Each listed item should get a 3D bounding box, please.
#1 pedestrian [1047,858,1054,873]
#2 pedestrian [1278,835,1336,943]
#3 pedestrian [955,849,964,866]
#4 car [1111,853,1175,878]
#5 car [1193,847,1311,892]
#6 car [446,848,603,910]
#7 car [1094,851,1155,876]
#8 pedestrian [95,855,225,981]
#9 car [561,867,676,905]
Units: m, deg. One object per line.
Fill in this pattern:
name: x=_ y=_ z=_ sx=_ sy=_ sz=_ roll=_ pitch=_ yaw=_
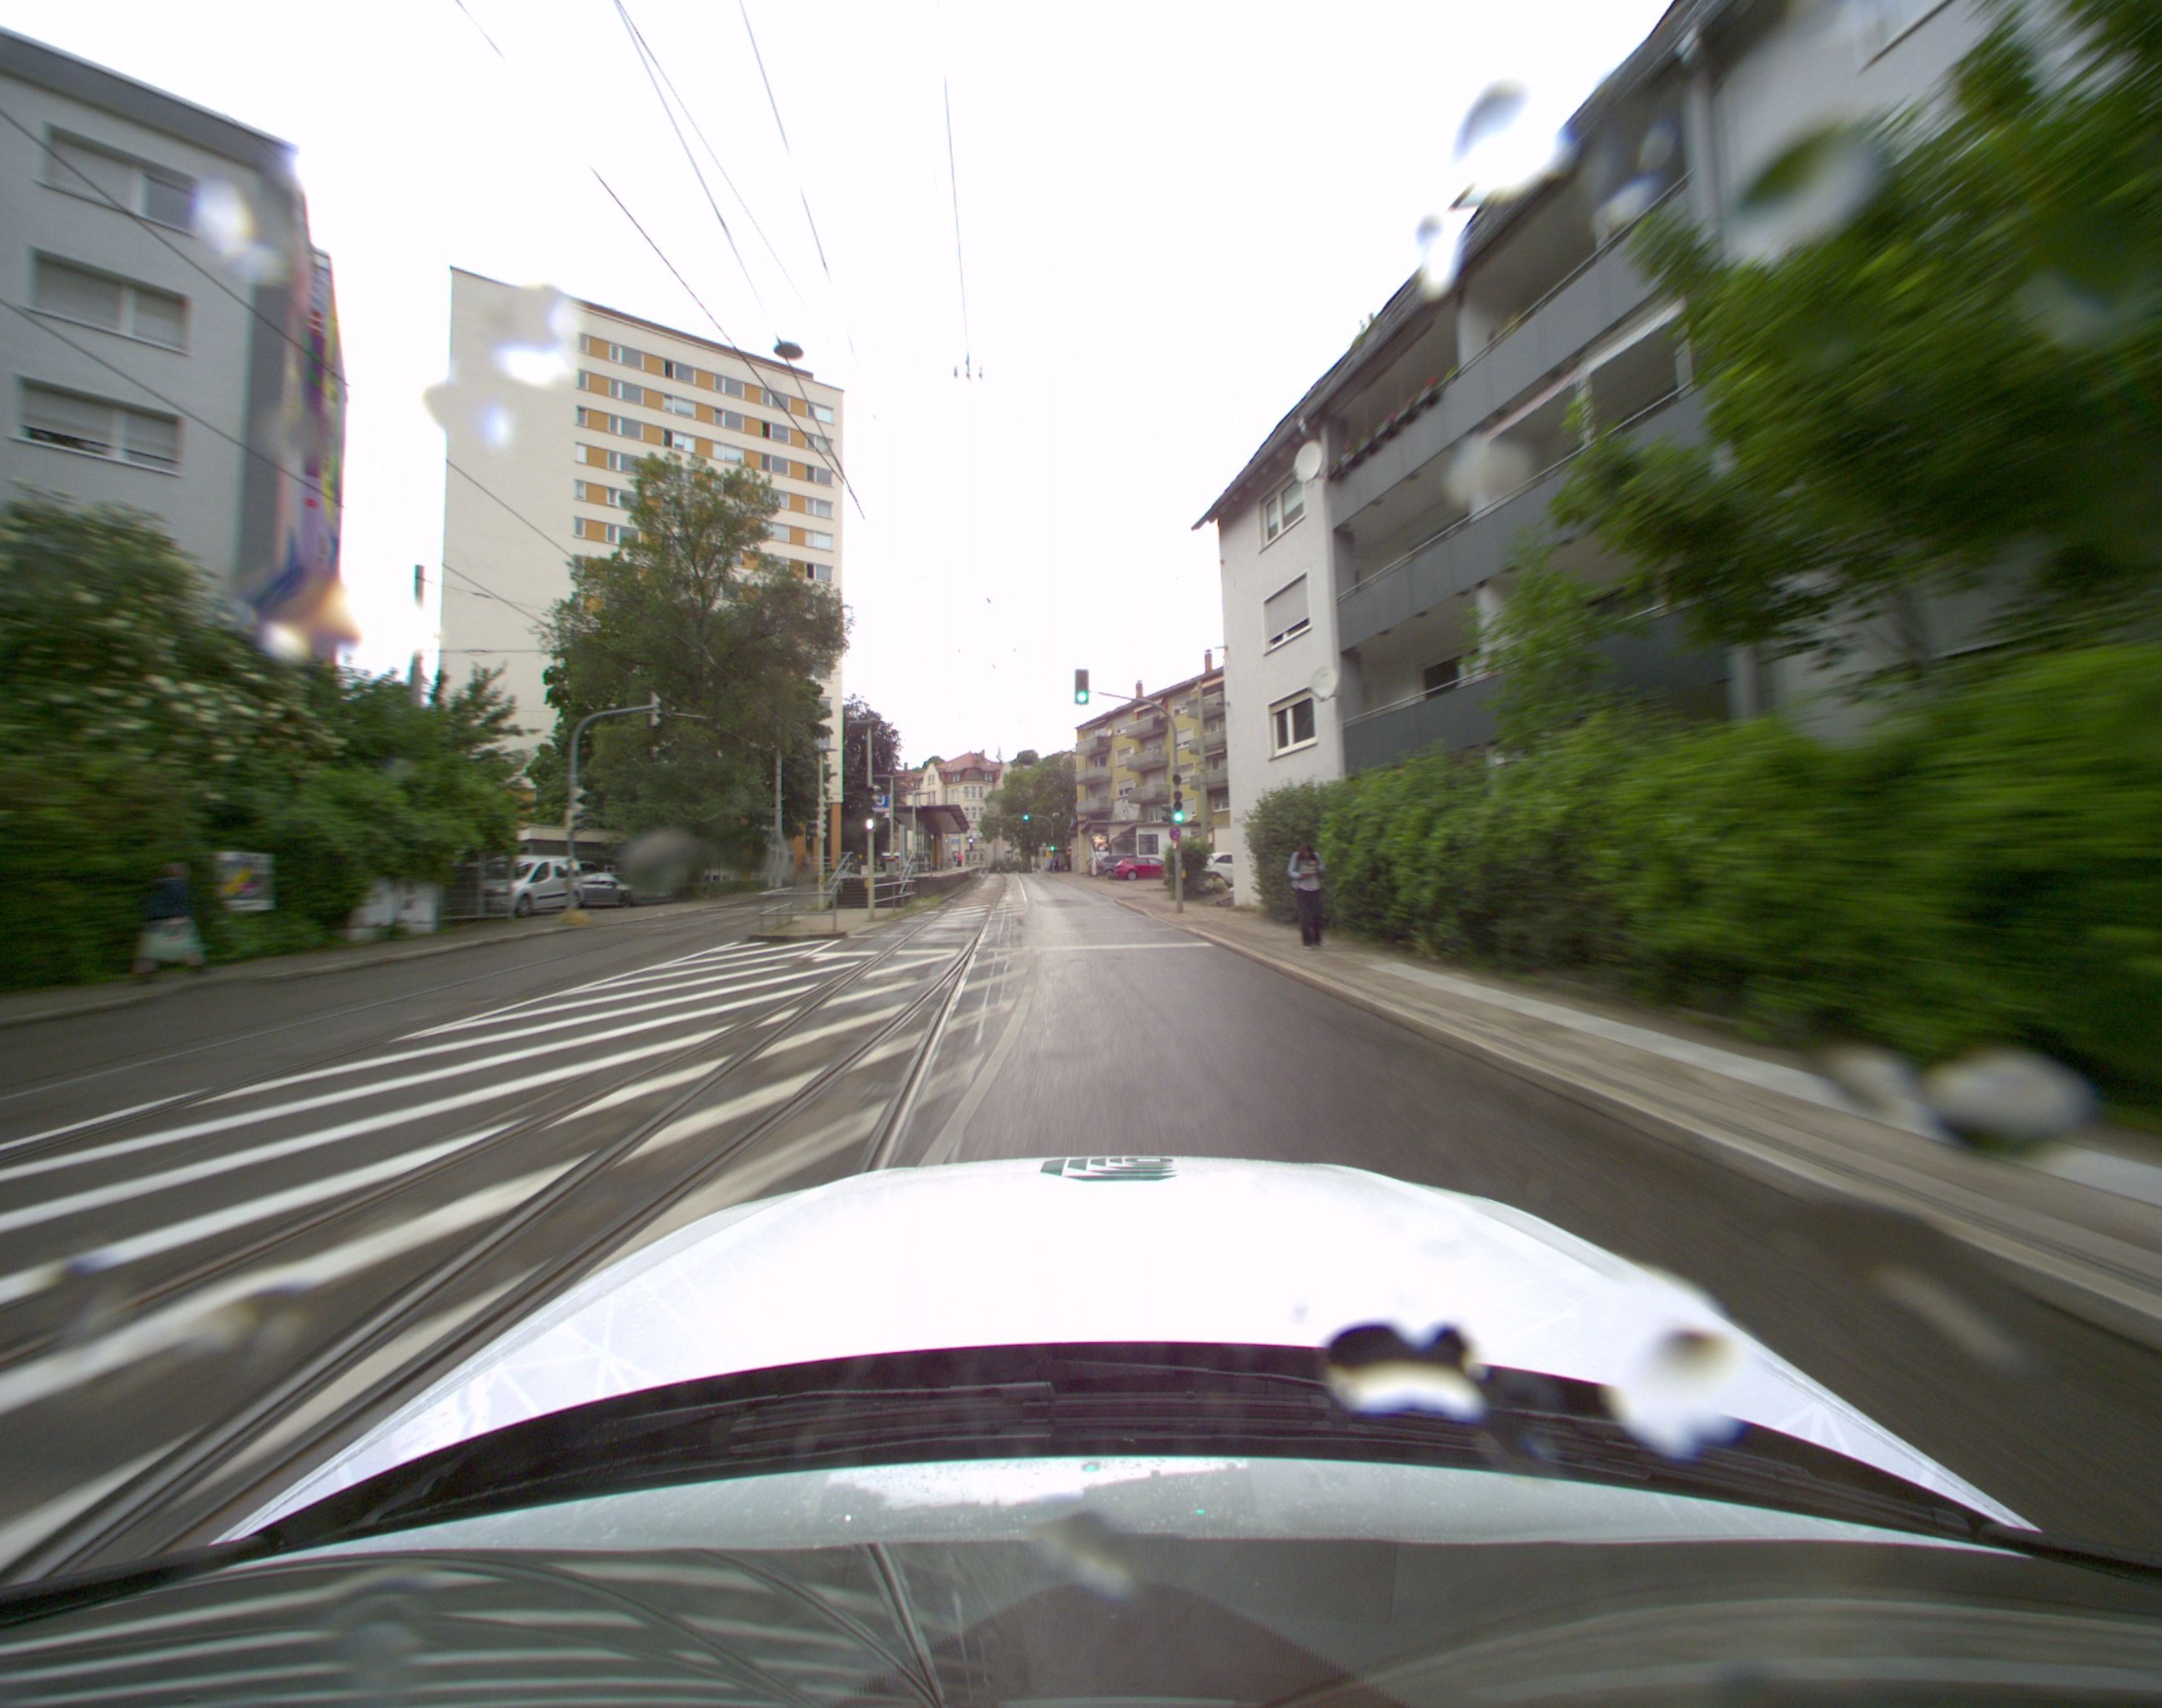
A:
pedestrian: x=-3.076 y=1.120 z=81.941 sx=0.578 sy=1.467 sz=0.541 roll=1 pitch=-5 yaw=-13
pedestrian: x=3.475 y=0.534 z=12.580 sx=0.643 sy=1.629 sz=0.698 roll=0 pitch=-2 yaw=-4
pedestrian: x=-10.442 y=0.314 z=70.126 sx=0.656 sy=1.467 sz=0.771 roll=0 pitch=-5 yaw=-2
car: x=3.943 y=0.749 z=52.218 sx=3.835 sy=1.543 sz=1.804 roll=0 pitch=-3 yaw=-5
car: x=6.390 y=0.620 z=30.684 sx=3.983 sy=1.646 sz=1.803 roll=0 pitch=-3 yaw=-7
car: x=-16.615 y=0.812 z=24.614 sx=1.988 sy=1.684 sz=3.995 roll=0 pitch=-4 yaw=-2
car: x=2.960 y=0.692 z=55.815 sx=3.981 sy=1.646 sz=1.803 roll=0 pitch=-3 yaw=-6
pedestrian: x=-12.884 y=0.867 z=11.425 sx=0.736 sy=1.677 sz=0.918 roll=0 pitch=-1 yaw=1
car: x=-18.469 y=1.297 z=32.577 sx=3.955 sy=1.406 sz=1.690 roll=-2 pitch=-5 yaw=17
